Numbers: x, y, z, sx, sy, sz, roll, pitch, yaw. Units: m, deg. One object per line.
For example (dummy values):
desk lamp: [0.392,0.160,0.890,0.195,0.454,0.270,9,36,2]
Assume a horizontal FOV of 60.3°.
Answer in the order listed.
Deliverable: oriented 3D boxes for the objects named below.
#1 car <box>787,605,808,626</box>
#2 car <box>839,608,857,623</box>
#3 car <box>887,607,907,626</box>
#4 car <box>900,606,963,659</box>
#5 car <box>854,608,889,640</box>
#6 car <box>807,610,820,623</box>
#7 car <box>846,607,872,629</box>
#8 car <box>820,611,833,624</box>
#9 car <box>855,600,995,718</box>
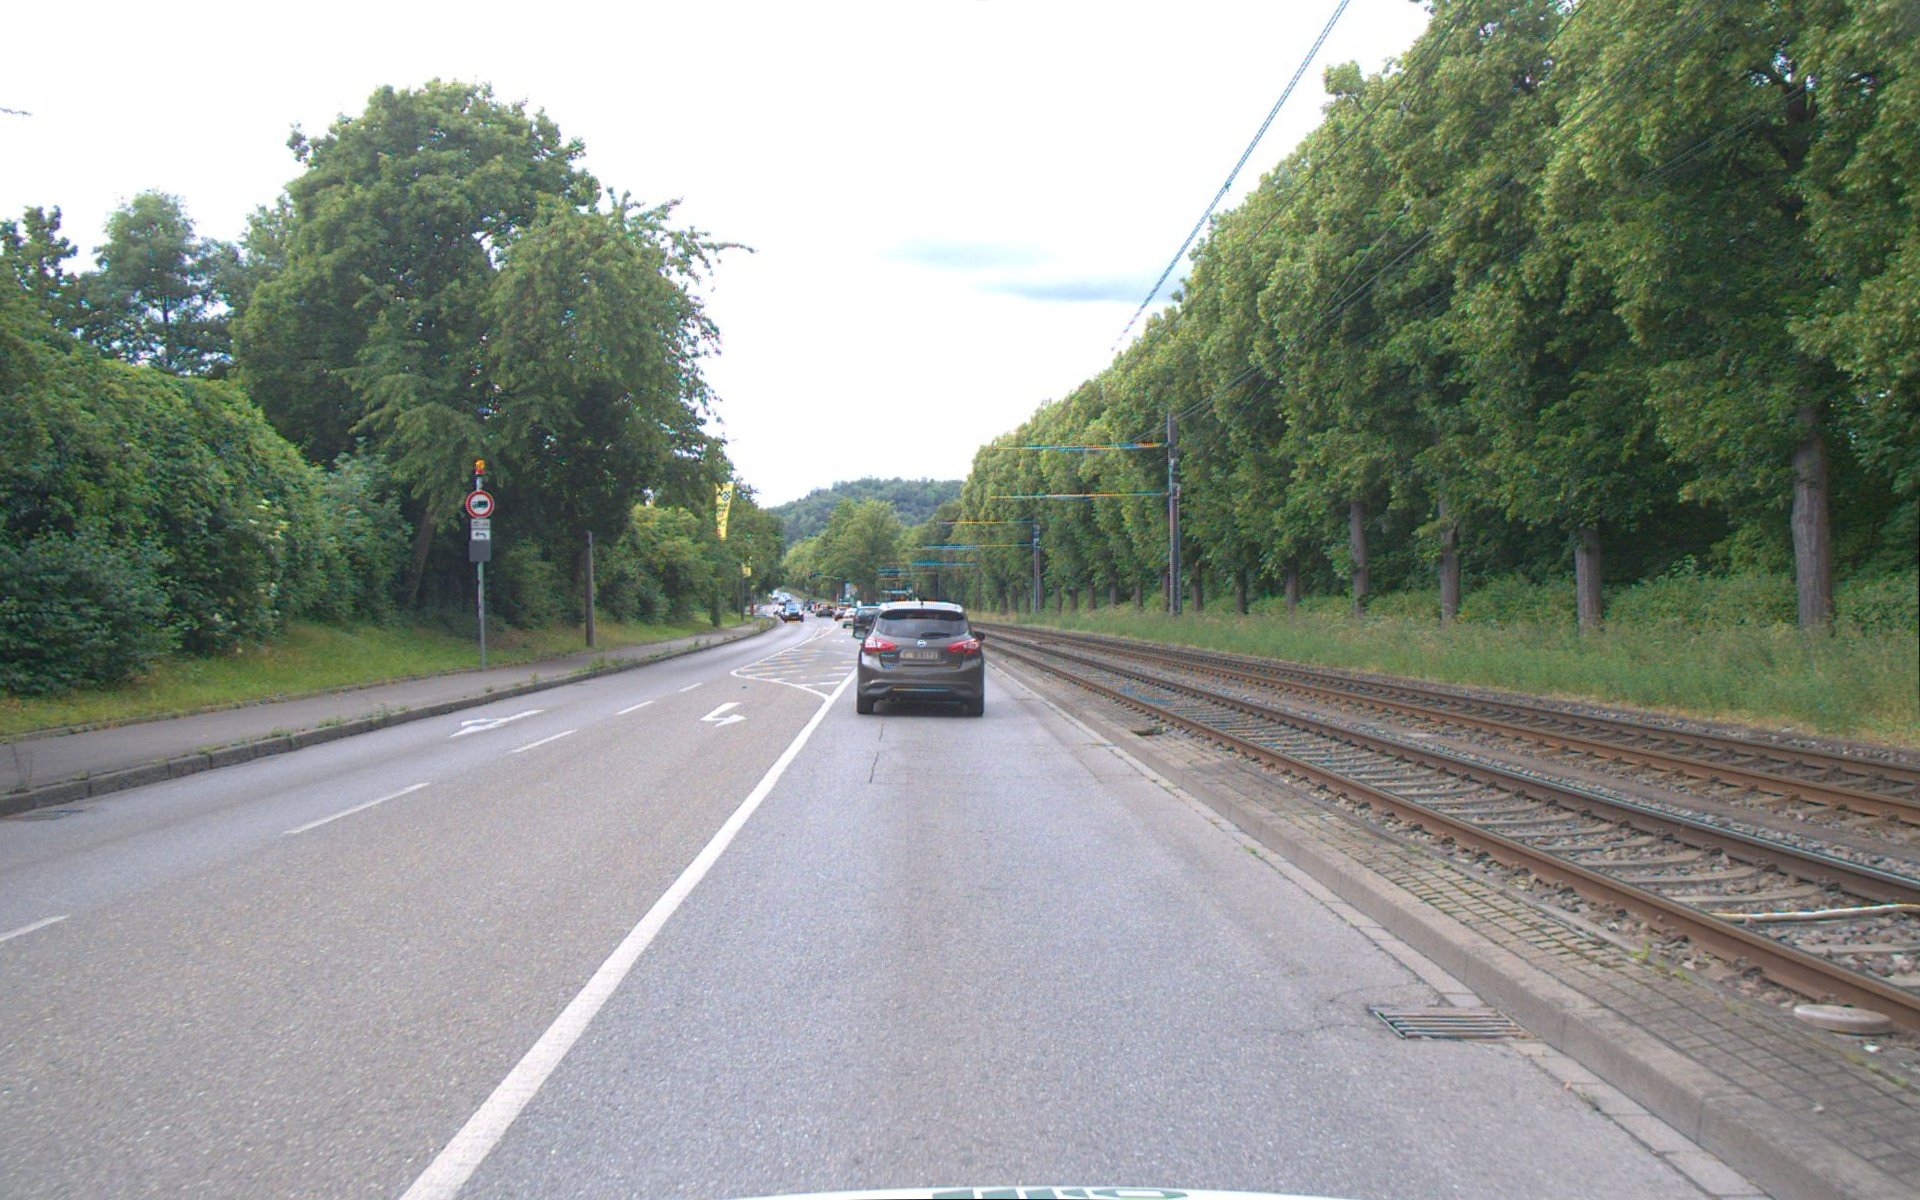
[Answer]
car: [-16.531,1.533,168.144,1.954,2.072,5.111,-1,-1,-4]
car: [-11.584,1.593,171.789,1.758,1.537,3.998,0,-1,-2]
car: [-5.120,1.334,134.709,1.665,1.469,3.998,0,-1,-2]
car: [-0.869,0.931,47.913,1.666,1.469,3.997,0,-1,-3]
car: [-4.304,1.156,80.063,1.666,1.469,3.996,0,-1,-4]
car: [-20.817,2.342,234.980,1.665,1.744,3.998,0,-1,-2]
car: [-6.807,1.203,111.695,1.665,1.469,3.998,0,-1,-2]
car: [-18.092,2.337,224.339,1.665,1.744,3.998,0,-1,-2]
car: [-0.493,0.776,23.654,1.813,1.519,3.999,1,0,-1]
